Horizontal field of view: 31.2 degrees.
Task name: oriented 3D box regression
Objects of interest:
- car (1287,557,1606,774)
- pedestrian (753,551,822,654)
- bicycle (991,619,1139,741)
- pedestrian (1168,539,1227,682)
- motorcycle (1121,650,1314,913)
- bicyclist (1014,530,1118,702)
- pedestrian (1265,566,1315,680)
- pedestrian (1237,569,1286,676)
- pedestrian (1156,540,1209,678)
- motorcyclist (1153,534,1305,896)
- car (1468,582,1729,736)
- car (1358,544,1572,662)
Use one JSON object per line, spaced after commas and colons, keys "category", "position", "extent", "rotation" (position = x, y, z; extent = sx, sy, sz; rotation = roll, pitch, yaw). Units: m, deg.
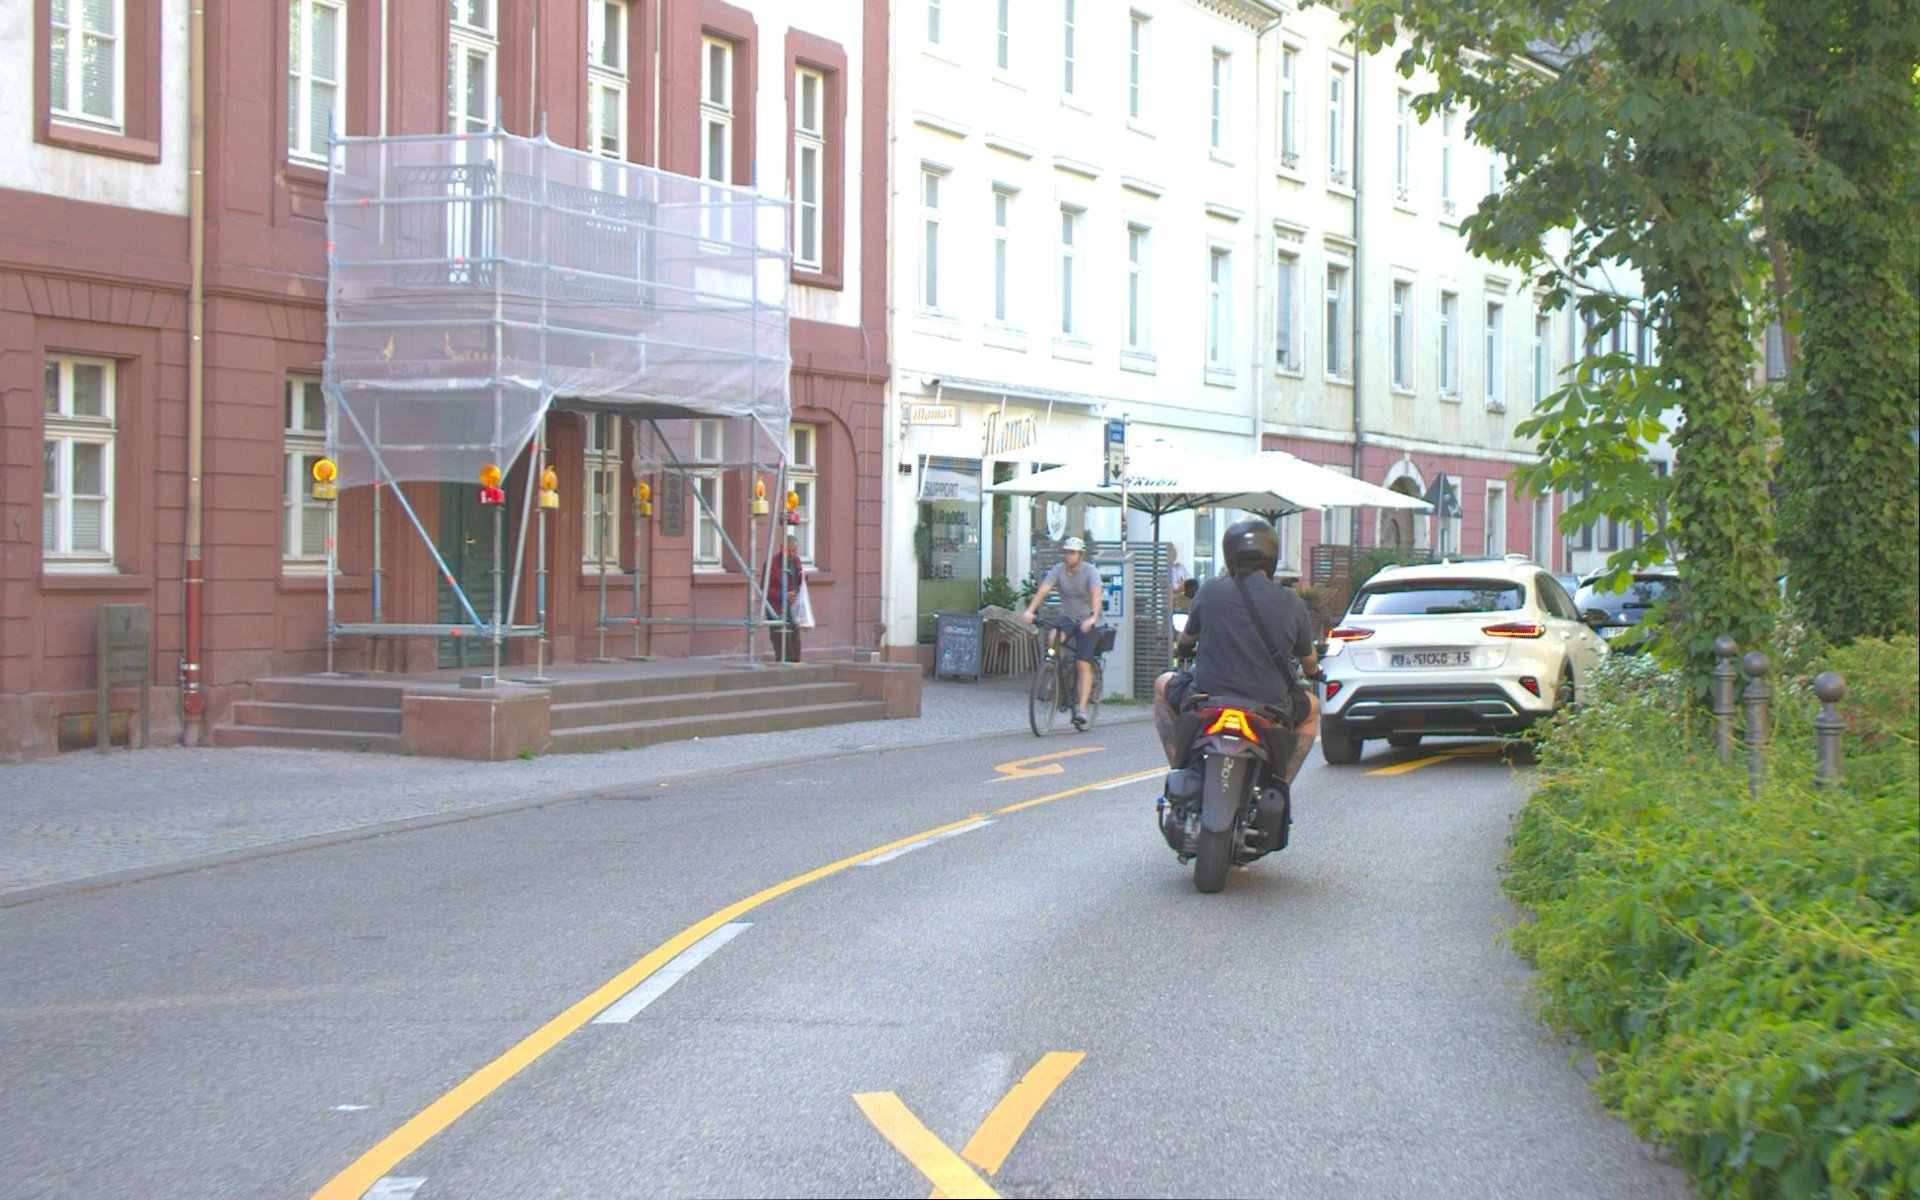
{"category": "car", "position": [3.830, 0.433, 26.507], "extent": [1.852, 1.475, 4.054], "rotation": [1, 1, 16]}
{"category": "pedestrian", "position": [-1.779, 0.020, 35.480], "extent": [0.537, 1.049, 0.551], "rotation": [1, 1, 18]}
{"category": "bicycle", "position": [1.011, 0.739, 32.525], "extent": [0.772, 1.059, 2.076], "rotation": [0, 1, 20]}
{"category": "pedestrian", "position": [2.985, 0.125, 43.148], "extent": [0.596, 1.769, 0.438], "rotation": [1, 1, 31]}
{"category": "motorcycle", "position": [1.208, 0.801, 15.827], "extent": [0.797, 1.062, 1.725], "rotation": [1, 1, 6]}
{"category": "bicyclist", "position": [1.005, 0.141, 32.437], "extent": [0.745, 1.578, 0.794], "rotation": [1, 1, 20]}
{"category": "pedestrian", "position": [4.185, 0.292, 43.589], "extent": [0.471, 1.428, 0.501], "rotation": [1, 1, 27]}
{"category": "pedestrian", "position": [3.961, 0.286, 45.140], "extent": [0.524, 1.386, 0.488], "rotation": [0, 1, 20]}
{"category": "pedestrian", "position": [2.899, 0.111, 44.743], "extent": [0.438, 1.769, 0.596], "rotation": [1, 1, 35]}
{"category": "motorcyclist", "position": [1.260, 0.519, 16.034], "extent": [0.657, 1.645, 0.650], "rotation": [0, 1, 8]}
{"category": "car", "position": [6.854, 0.583, 36.584], "extent": [1.842, 1.458, 4.052], "rotation": [2, 1, 23]}
{"category": "car", "position": [7.644, 0.014, 51.684], "extent": [1.924, 1.674, 4.779], "rotation": [0, 1, 24]}
